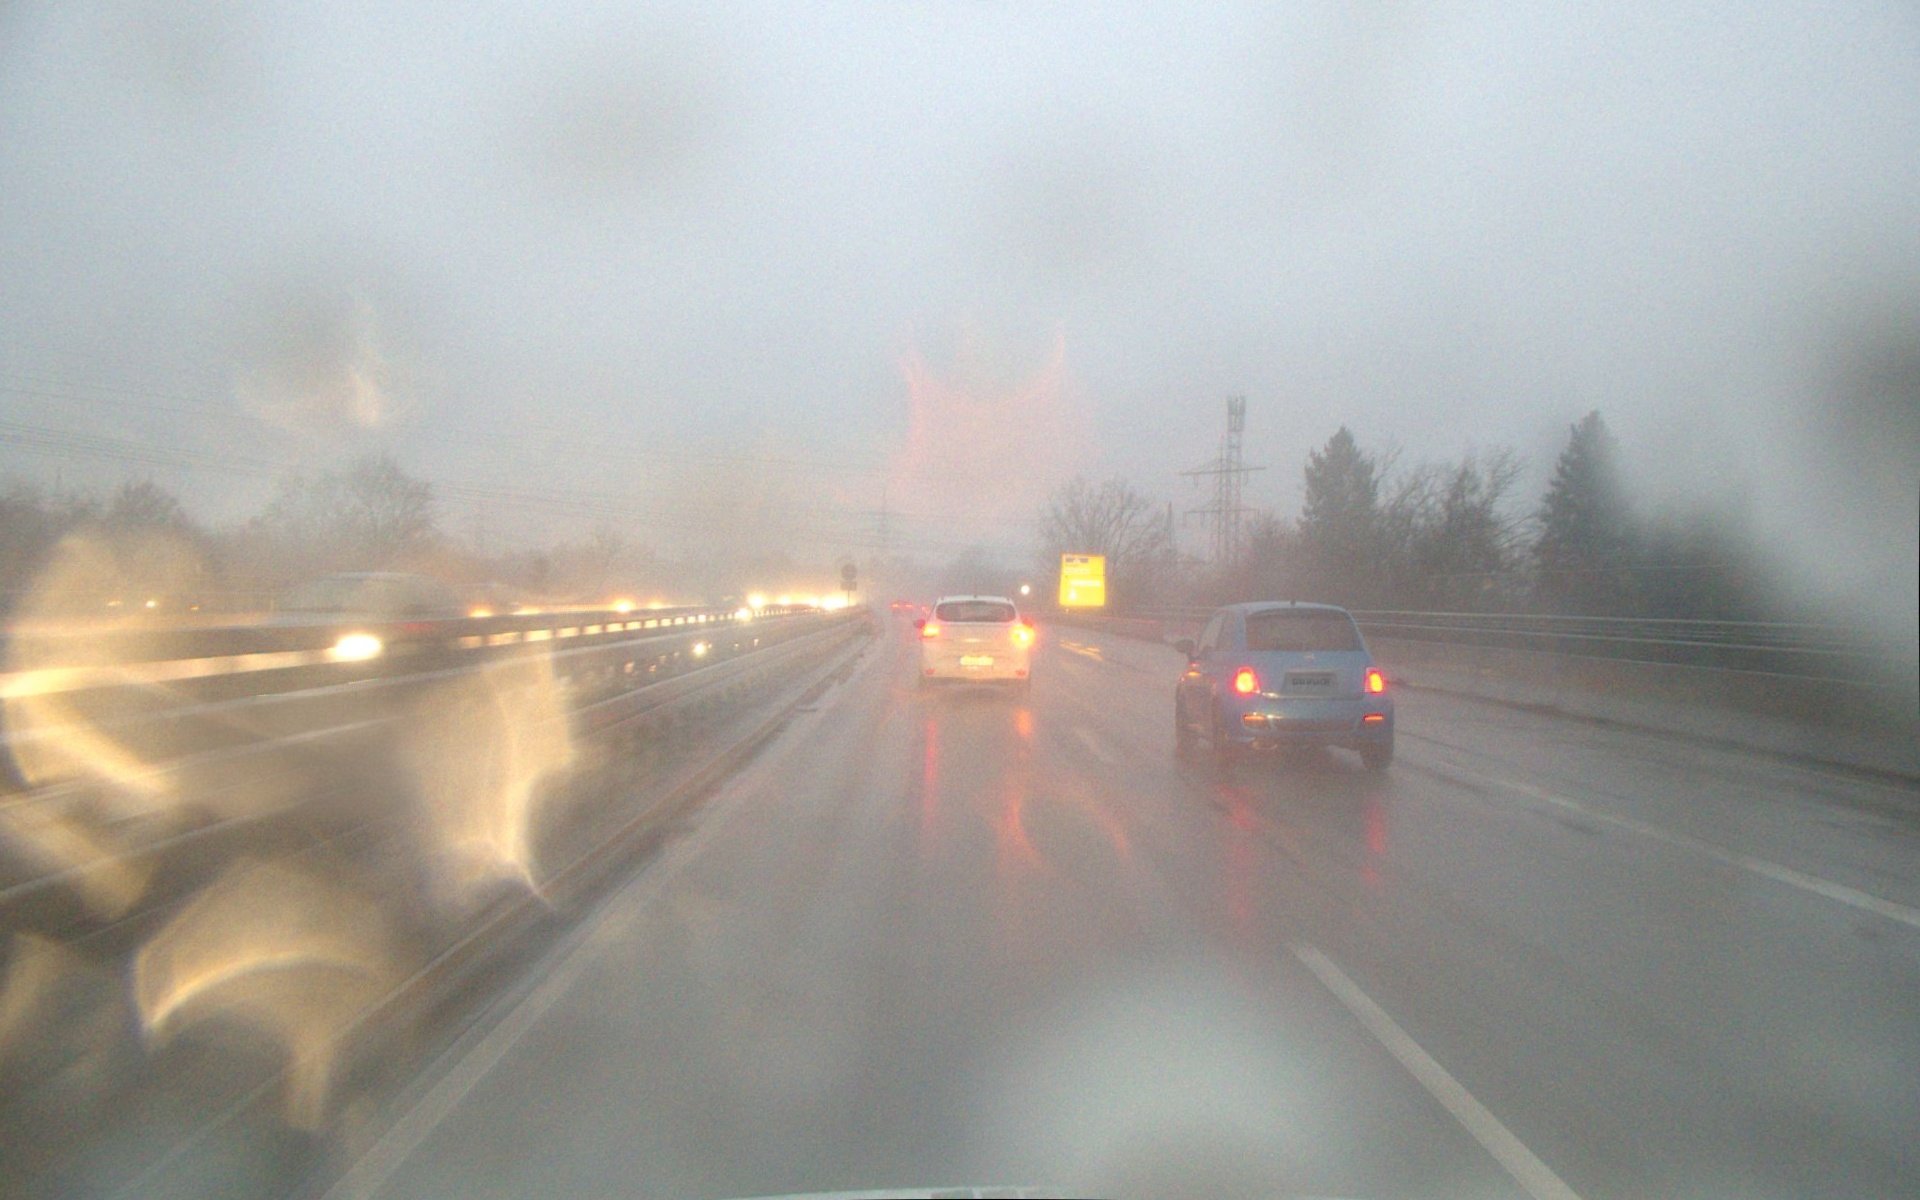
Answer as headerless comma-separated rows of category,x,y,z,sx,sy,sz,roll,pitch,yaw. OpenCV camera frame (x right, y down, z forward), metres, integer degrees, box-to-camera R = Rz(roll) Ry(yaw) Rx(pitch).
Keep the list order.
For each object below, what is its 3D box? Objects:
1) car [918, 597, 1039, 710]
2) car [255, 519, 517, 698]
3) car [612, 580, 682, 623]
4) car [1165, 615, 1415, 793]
car,0.276,0.812,26.680,1.808,1.664,3.767,1,0,0
car,-7.428,0.086,21.894,1.924,2.088,4.373,1,0,0
car,-12.350,0.044,65.605,1.953,1.624,4.655,1,0,-1
car,3.237,0.958,17.020,1.807,1.479,4.149,1,1,1
